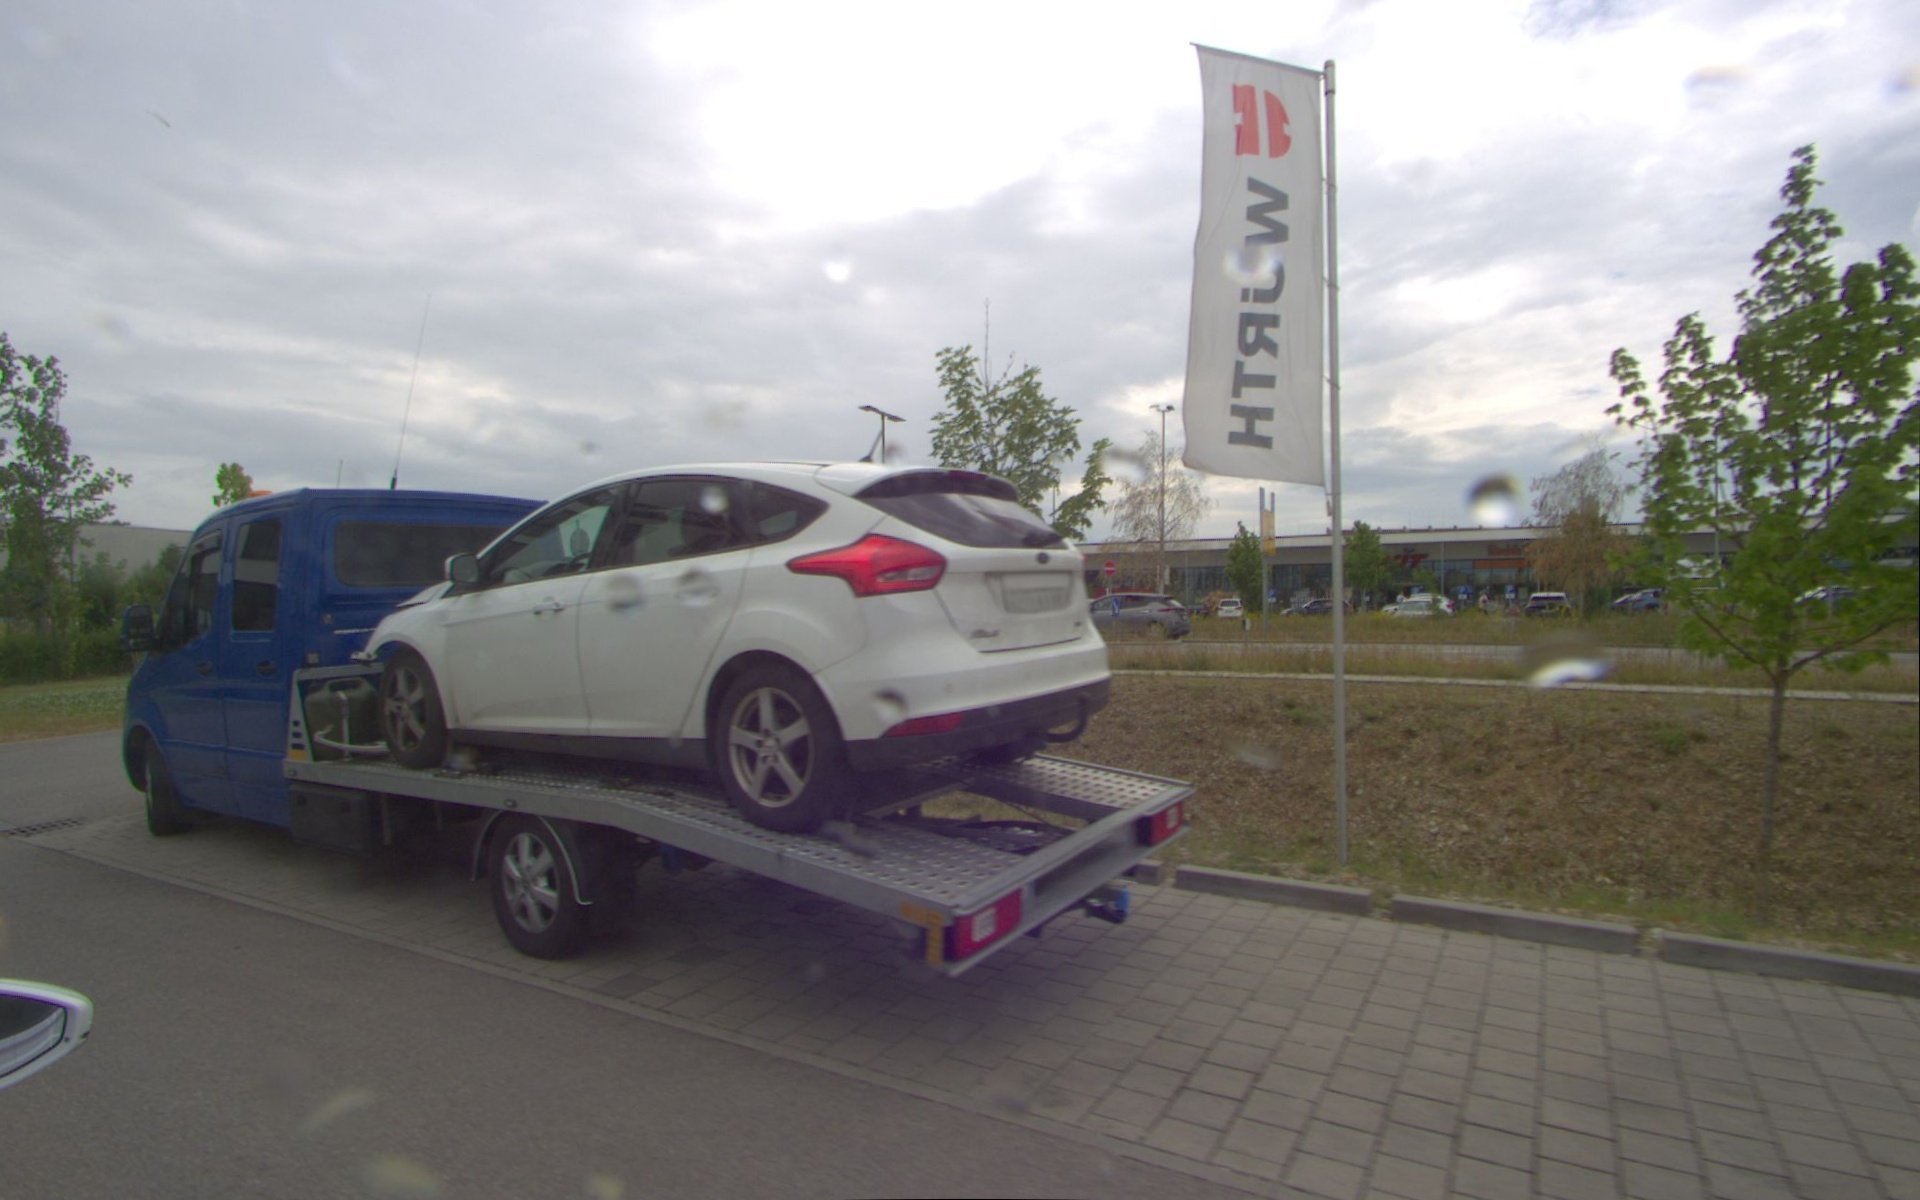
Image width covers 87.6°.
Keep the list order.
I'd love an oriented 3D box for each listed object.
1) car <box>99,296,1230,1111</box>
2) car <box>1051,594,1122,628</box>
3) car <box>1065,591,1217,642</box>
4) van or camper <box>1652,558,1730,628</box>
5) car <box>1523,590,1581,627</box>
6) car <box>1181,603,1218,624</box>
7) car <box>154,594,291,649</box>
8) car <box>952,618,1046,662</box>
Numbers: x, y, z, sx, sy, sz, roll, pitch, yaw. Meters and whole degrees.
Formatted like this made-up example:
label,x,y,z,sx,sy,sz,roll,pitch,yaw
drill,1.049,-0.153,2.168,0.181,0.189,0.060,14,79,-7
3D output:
label,x,y,z,sx,sy,sz,roll,pitch,yaw
car,-2.522,0.353,6.028,7.751,2.353,2.187,-1,0,35
car,5.762,0.482,45.256,1.757,1.464,4.593,0,-1,26
car,5.557,0.504,30.838,4.201,1.475,1.991,0,0,31
van or camper,27.803,-0.267,38.116,2.260,2.526,3.973,0,1,36
car,24.539,0.345,41.534,1.966,1.470,4.130,0,0,31
car,18.060,1.003,75.462,1.882,1.463,3.986,-1,0,25
car,-27.488,0.751,37.305,4.766,1.949,1.994,0,1,24
car,1.566,1.504,38.582,1.771,1.486,4.299,0,0,31
